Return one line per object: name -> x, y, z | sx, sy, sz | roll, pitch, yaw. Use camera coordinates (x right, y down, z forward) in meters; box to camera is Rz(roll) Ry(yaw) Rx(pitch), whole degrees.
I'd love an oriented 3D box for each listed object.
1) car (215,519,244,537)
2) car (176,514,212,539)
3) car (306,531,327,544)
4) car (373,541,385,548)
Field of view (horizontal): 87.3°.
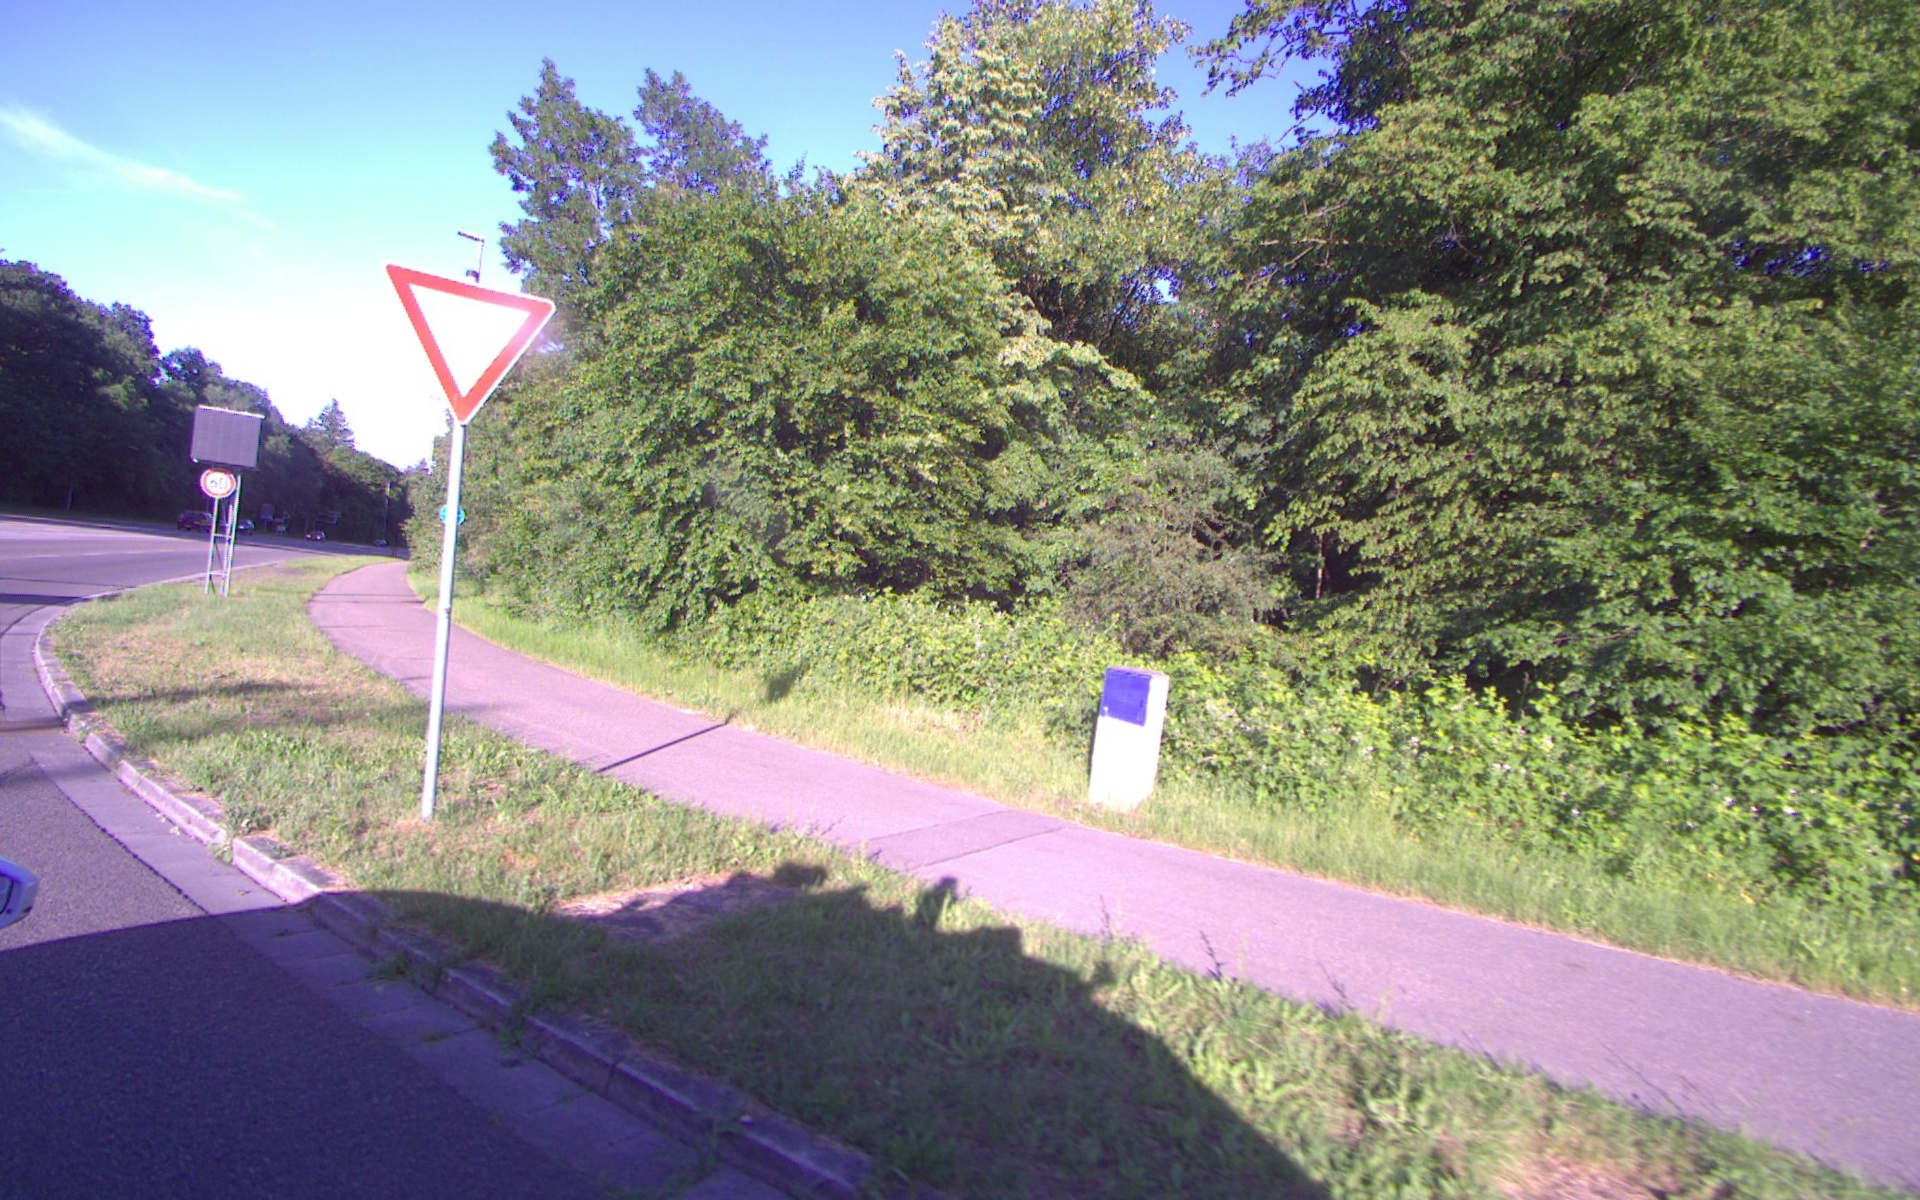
car -> -82.934, -8.197, 114.266 | 1.978, 1.656, 4.808 | 7, -1, -29
car -> -72.605, -6.970, 95.425 | 1.977, 1.986, 4.614 | 6, 0, -29
car -> -95.711, -9.276, 149.638 | 1.977, 1.583, 4.309 | 7, -1, -27
car -> -113.161, -10.792, 195.948 | 1.729, 1.249, 4.642 | 7, -1, -27
